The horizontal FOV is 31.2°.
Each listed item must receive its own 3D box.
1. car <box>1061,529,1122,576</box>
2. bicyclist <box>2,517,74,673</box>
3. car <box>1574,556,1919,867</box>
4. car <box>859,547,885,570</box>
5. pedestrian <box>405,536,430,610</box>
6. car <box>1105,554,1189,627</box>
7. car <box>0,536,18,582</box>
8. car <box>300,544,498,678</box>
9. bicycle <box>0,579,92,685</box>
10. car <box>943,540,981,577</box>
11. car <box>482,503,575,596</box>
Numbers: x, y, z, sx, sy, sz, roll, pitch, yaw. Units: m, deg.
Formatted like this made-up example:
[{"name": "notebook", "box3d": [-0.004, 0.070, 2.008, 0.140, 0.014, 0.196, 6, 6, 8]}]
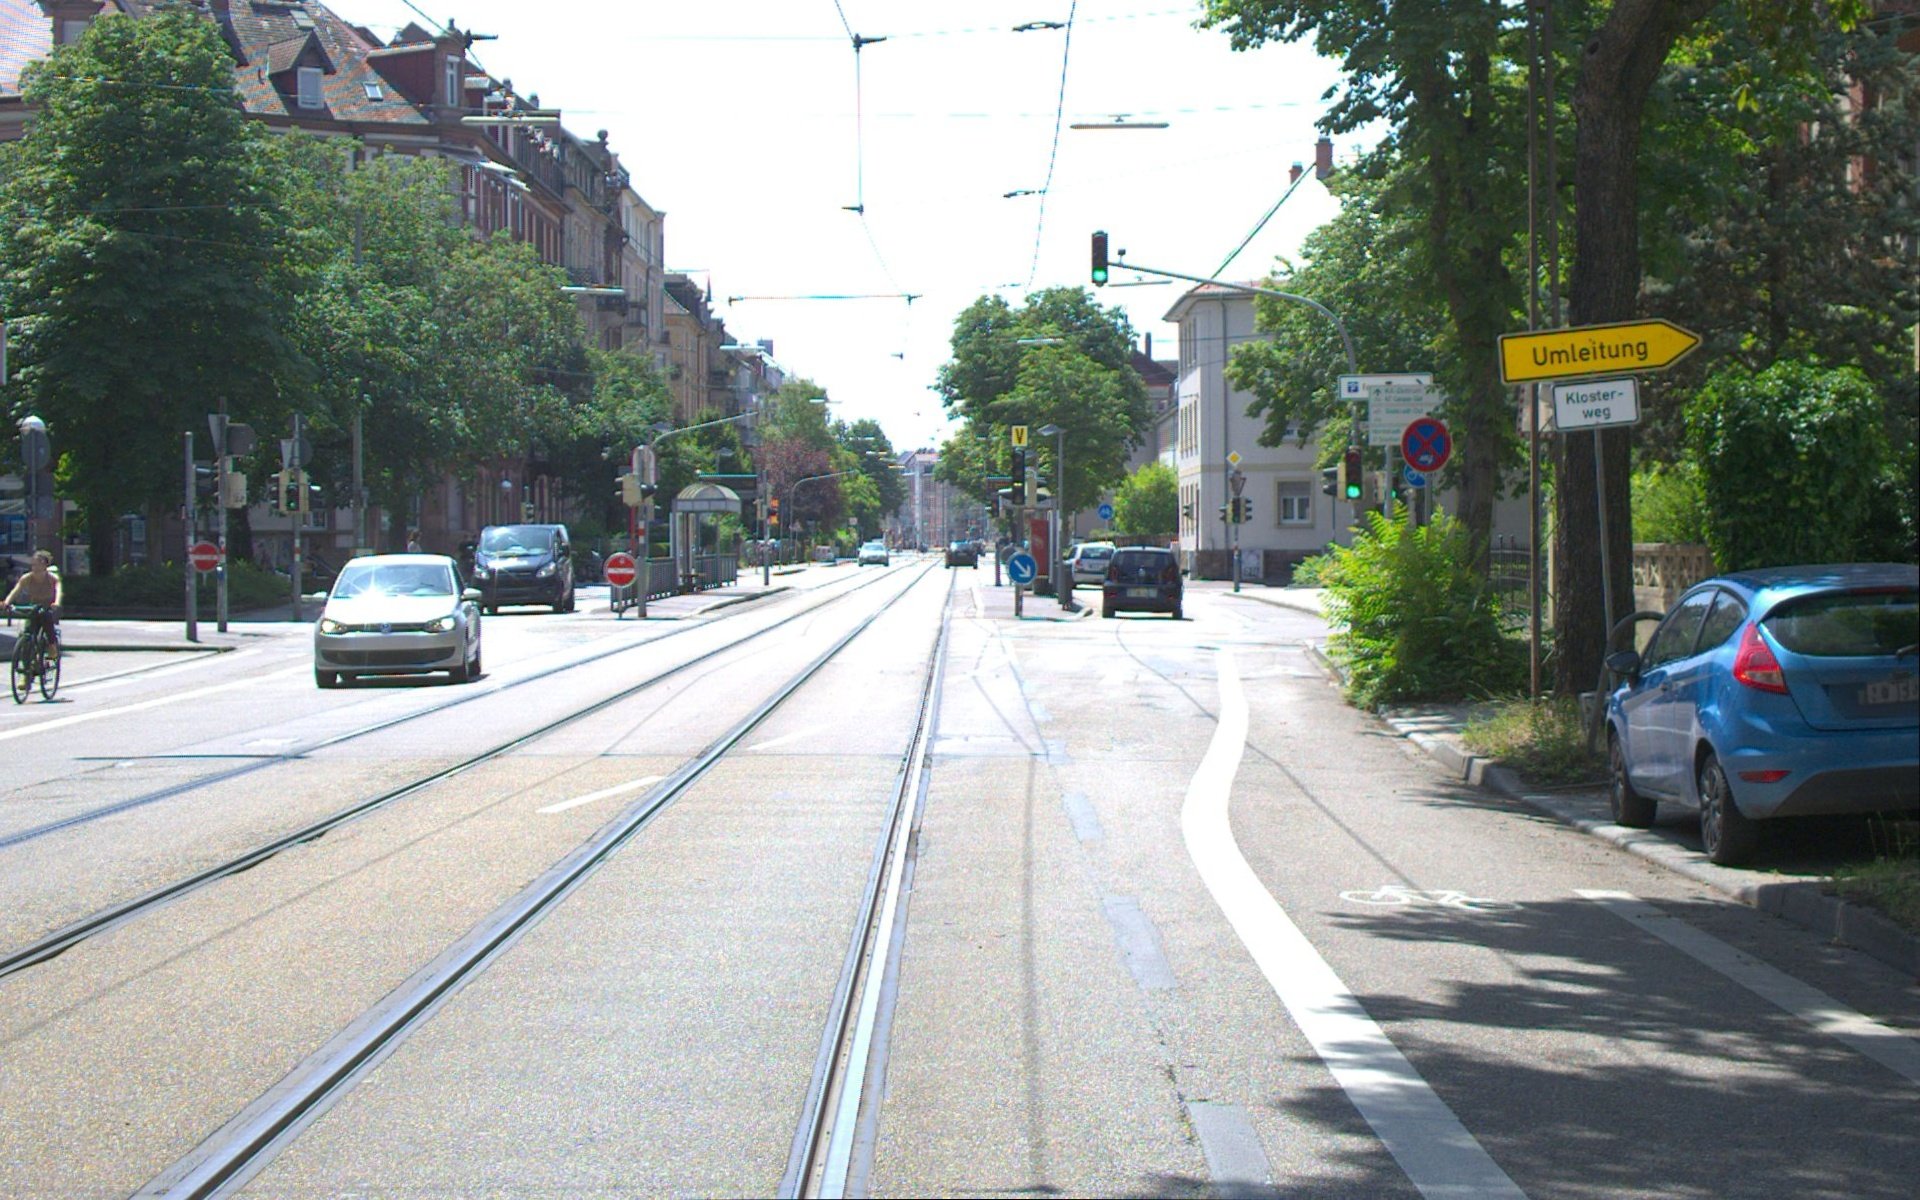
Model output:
[{"name": "car", "box3d": [4.267, -1.538, 112.142, 1.524, 1.451, 3.365, -1, 1, -5]}, {"name": "bicyclist", "box3d": [-9.935, -0.058, 37.044, 0.610, 1.657, 0.579, 0, 1, -1]}, {"name": "car", "box3d": [4.499, 0.510, 18.457, 1.683, 1.457, 4.000, -1, 1, 0]}, {"name": "car", "box3d": [-5.333, -2.494, 208.395, 1.540, 1.334, 3.719, 1, 0, -2]}, {"name": "pedestrian", "box3d": [-13.952, -0.696, 88.463, 0.510, 1.873, 0.493, 1, 0, 4]}, {"name": "car", "box3d": [3.847, -0.214, 71.088, 1.525, 1.439, 3.365, -1, 1, 0]}, {"name": "car", "box3d": [-31.753, -1.323, 108.553, 3.734, 1.437, 1.539, 1, 1, 24]}, {"name": "car", "box3d": [-6.308, 0.098, 39.007, 1.708, 1.407, 3.826, -1, 1, -2]}, {"name": "bicycle", "box3d": [-9.921, 0.326, 36.960, 0.644, 1.071, 2.187, 0, 1, -1]}, {"name": "car", "box3d": [0.111, -2.262, 187.754, 2.047, 2.007, 4.607, 1, 1, 0]}, {"name": "car", "box3d": [-9.498, -1.101, 75.904, 1.843, 1.931, 4.824, -1, 1, -5]}]
